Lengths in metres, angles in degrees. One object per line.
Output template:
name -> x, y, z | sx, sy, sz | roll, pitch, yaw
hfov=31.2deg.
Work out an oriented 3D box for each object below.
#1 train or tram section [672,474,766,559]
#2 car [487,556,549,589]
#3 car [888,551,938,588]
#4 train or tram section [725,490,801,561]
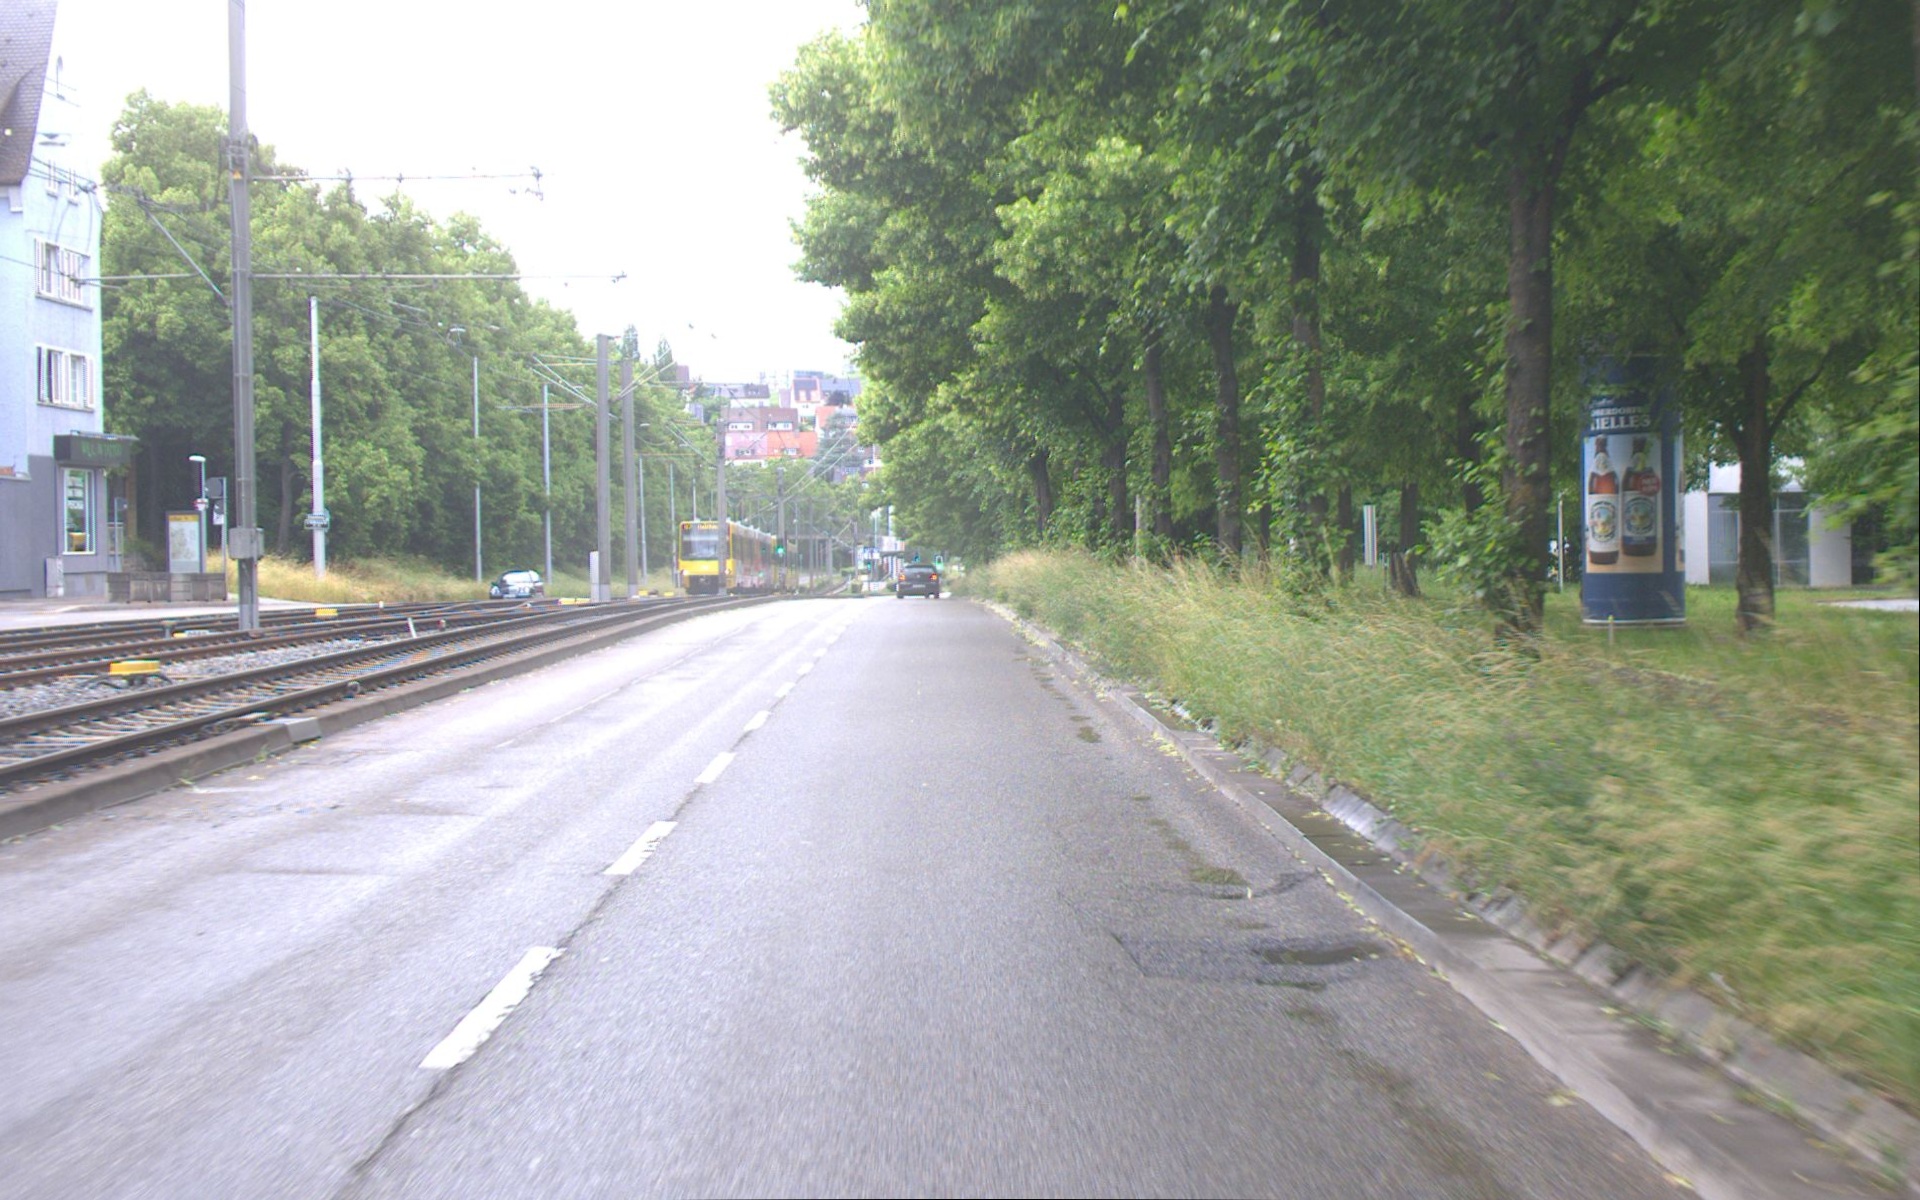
train or tram section -> -11.431, -3.896, 164.351 | 3.214, 3.783, 14.789 | 0, 0, 1
car -> -18.217, -1.140, 141.860 | 1.902, 1.320, 4.826 | 0, 0, 1
car -> -1.877, -1.239, 139.125 | 1.982, 1.435, 4.474 | 0, 1, 0
train or tram section -> -11.017, -4.123, 194.057 | 3.214, 3.783, 14.789 | 0, 0, 1
